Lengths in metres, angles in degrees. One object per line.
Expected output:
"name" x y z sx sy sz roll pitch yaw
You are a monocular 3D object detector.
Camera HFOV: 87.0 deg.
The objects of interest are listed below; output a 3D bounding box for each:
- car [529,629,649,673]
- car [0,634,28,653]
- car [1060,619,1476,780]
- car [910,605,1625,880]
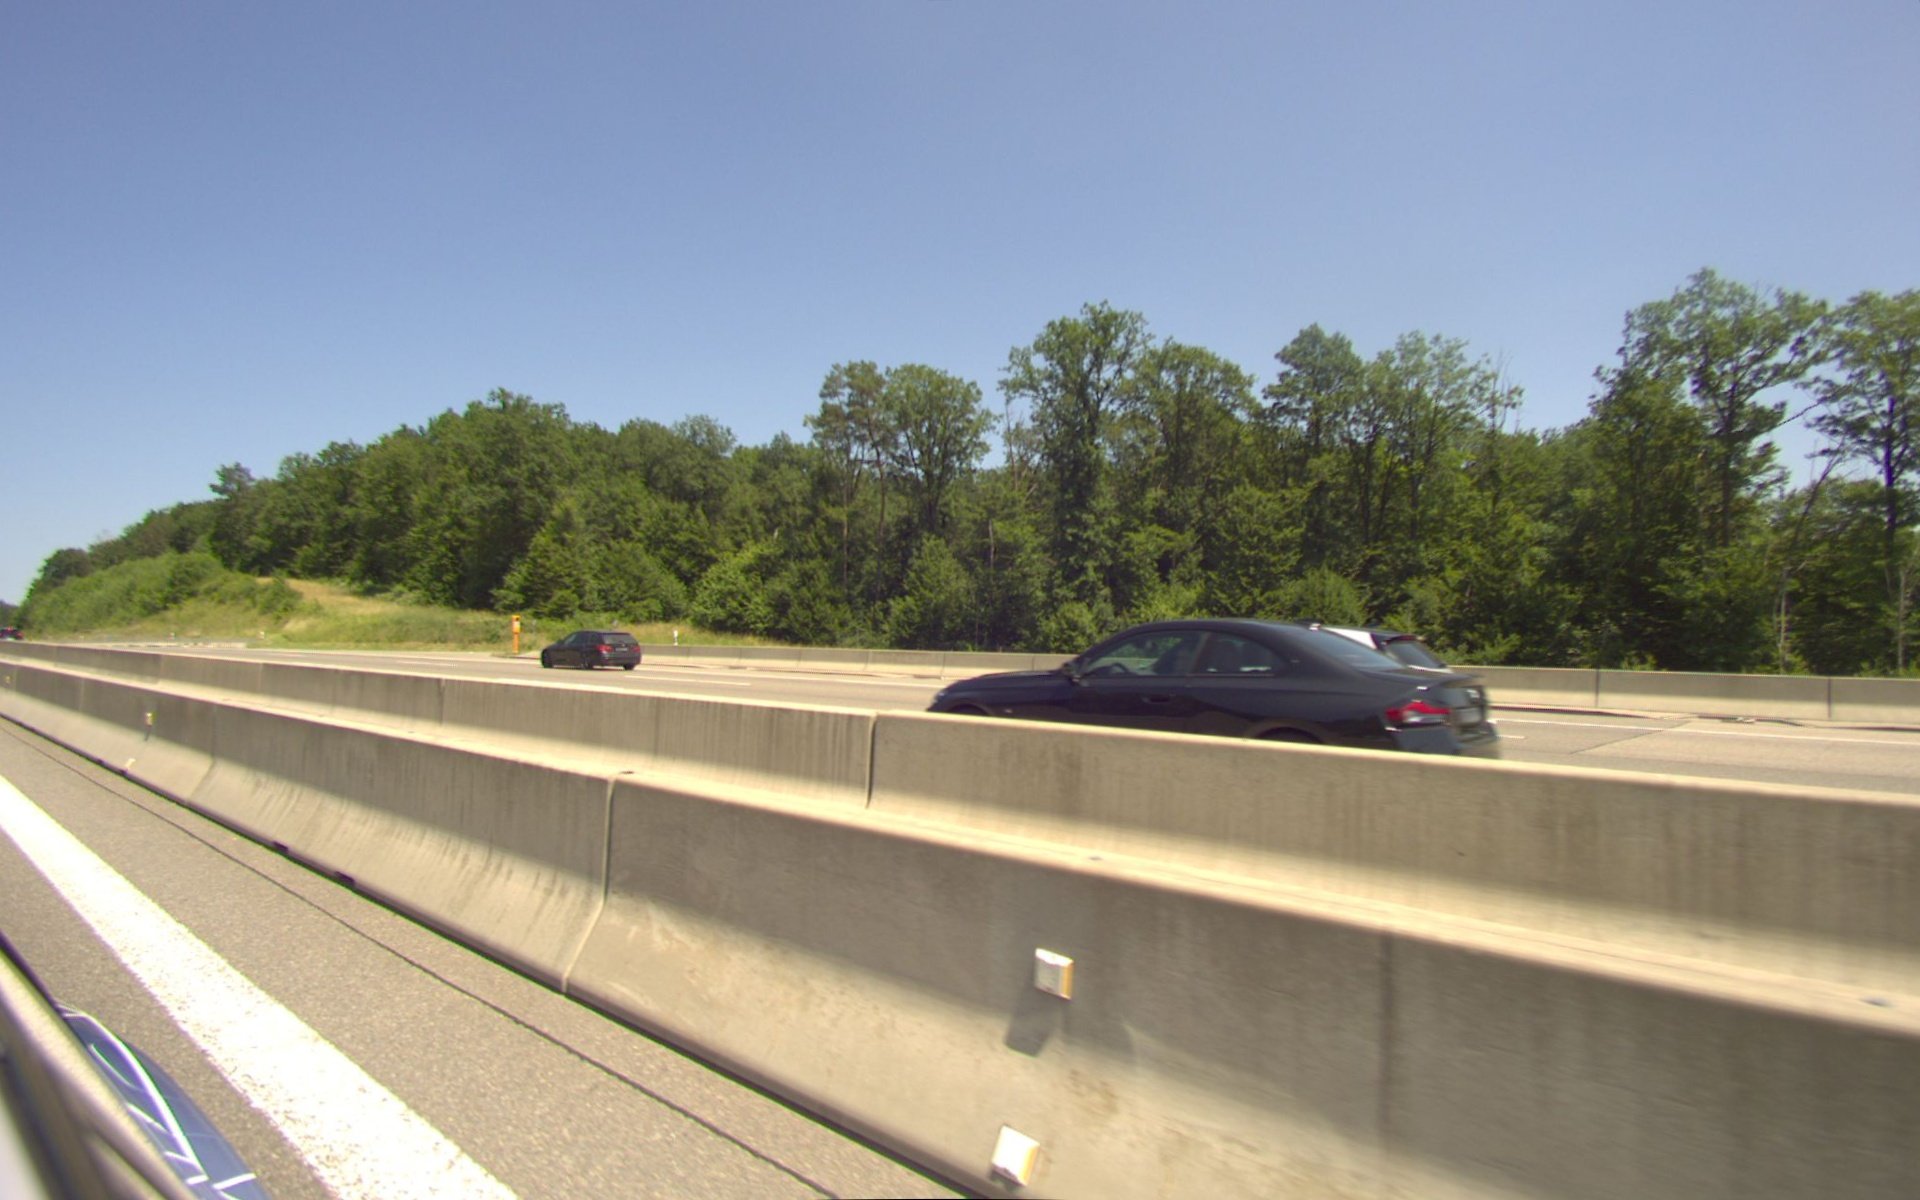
"car" -13.083 1.767 35.533 4.761 1.452 1.820 -1 -4 40
"car" -84.752 3.859 90.115 5.277 1.687 1.973 -2 -4 41
"car" 3.265 0.946 11.138 3.997 1.452 1.820 -1 -2 40
"car" 2.002 0.805 7.620 4.841 1.452 1.820 -1 -2 40
